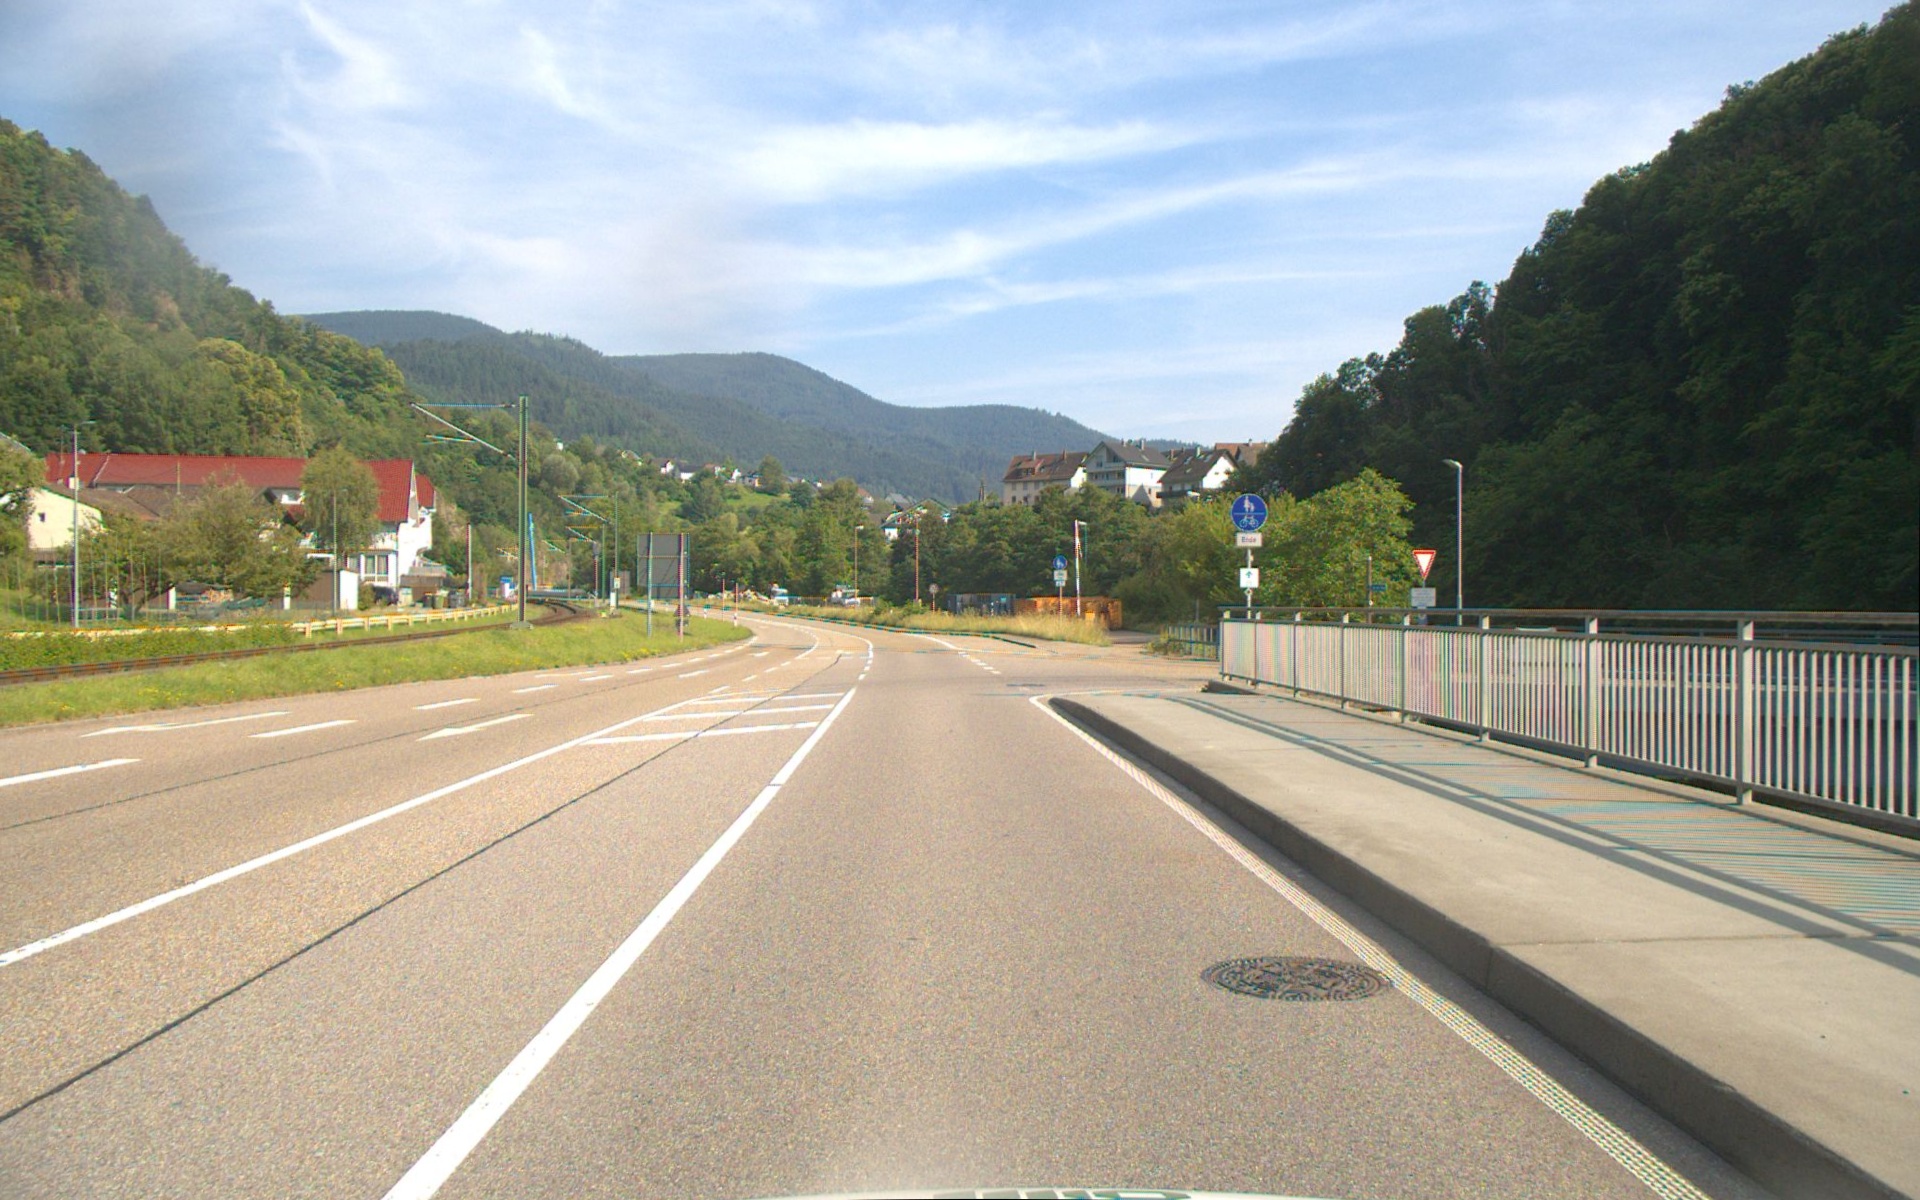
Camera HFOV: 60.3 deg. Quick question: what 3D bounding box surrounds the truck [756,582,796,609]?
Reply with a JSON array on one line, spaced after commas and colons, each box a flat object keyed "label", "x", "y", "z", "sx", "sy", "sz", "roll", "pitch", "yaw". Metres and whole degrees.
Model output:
[{"label": "truck", "x": -27.021, "y": -0.667, "z": 242.810, "sx": 3.066, "sy": 3.848, "sz": 8.569, "roll": 1, "pitch": 0, "yaw": -27}]

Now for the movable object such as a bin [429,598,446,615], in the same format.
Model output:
[{"label": "movable object such as a bin", "x": -37.984, "y": 0.443, "z": 120.246, "sx": 1.122, "sy": 1.212, "sz": 1.087, "roll": 1, "pitch": 0, "yaw": -19}]

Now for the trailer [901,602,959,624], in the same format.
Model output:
[{"label": "trailer", "x": -2.458, "y": 1.009, "z": 130.787, "sx": 2.743, "sy": 1.500, "sz": 9.857, "roll": 2, "pitch": 0, "yaw": -12}]

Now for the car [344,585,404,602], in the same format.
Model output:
[{"label": "car", "x": -43.829, "y": -0.486, "z": 123.817, "sx": 4.022, "sy": 1.293, "sz": 1.731, "roll": 0, "pitch": 0, "yaw": -12}]

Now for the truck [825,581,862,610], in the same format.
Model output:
[{"label": "truck", "x": -16.063, "y": -0.677, "z": 227.577, "sx": 3.055, "sy": 3.848, "sz": 8.600, "roll": 1, "pitch": 0, "yaw": -18}]
